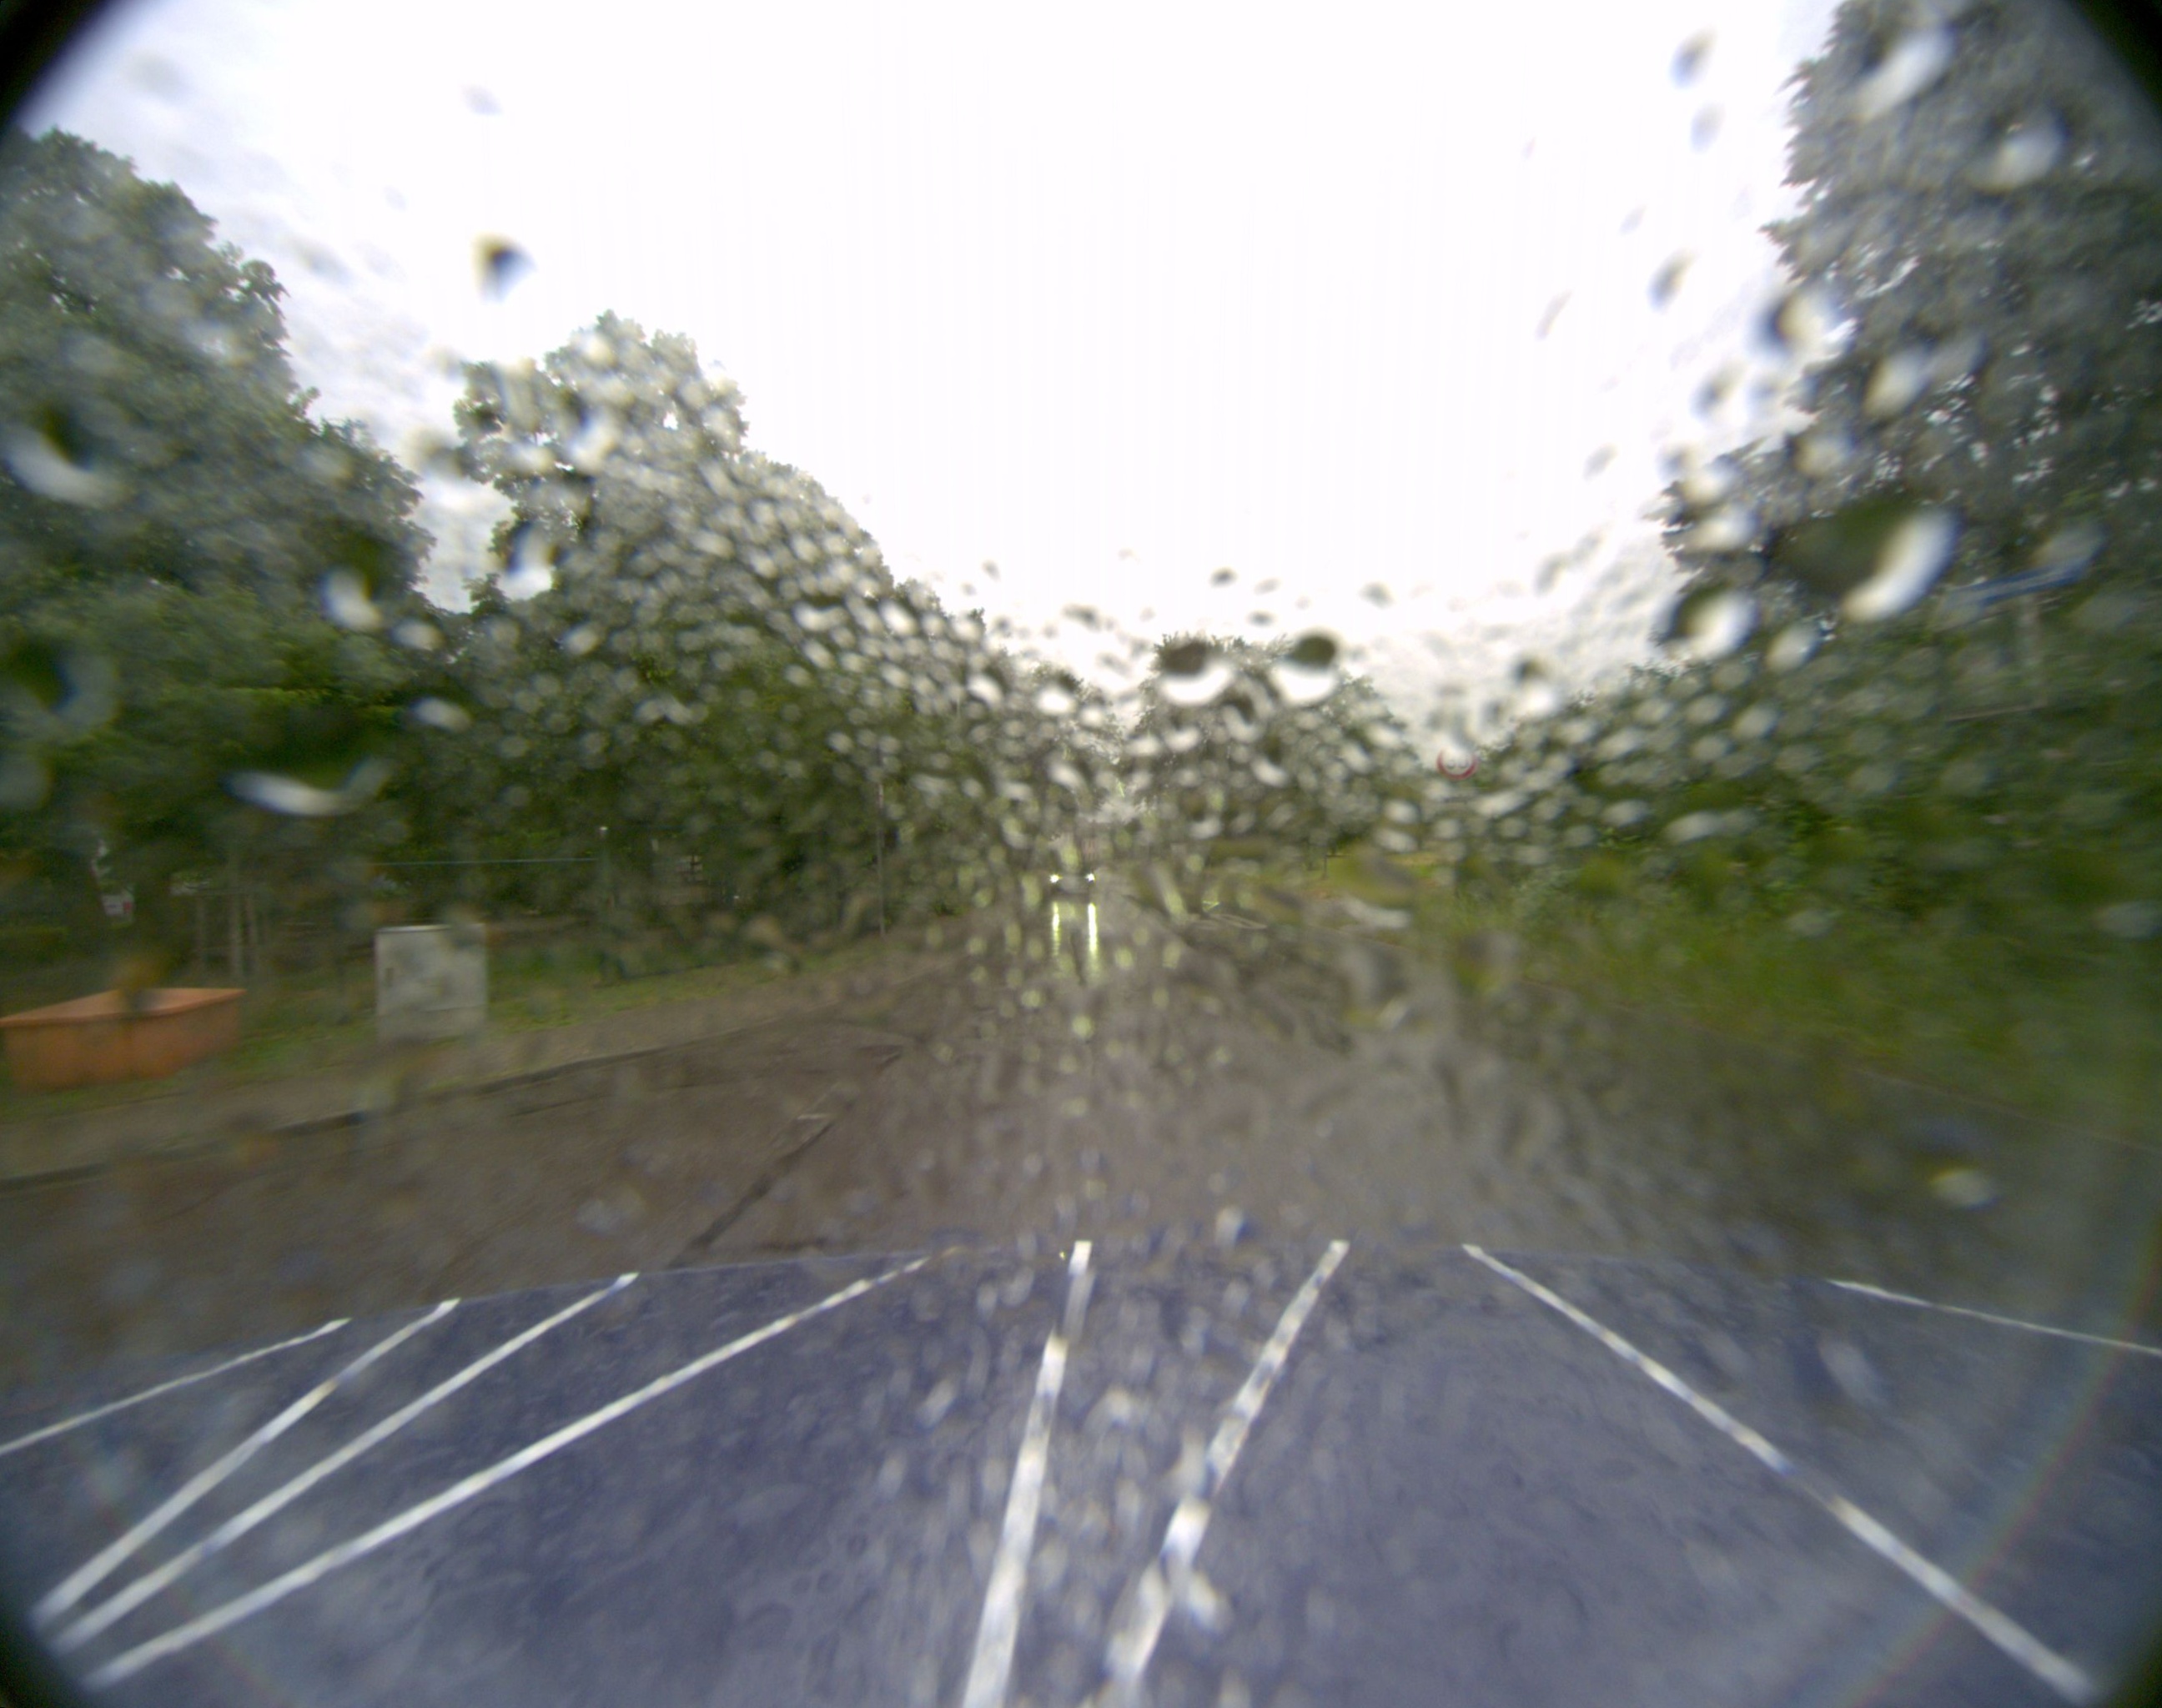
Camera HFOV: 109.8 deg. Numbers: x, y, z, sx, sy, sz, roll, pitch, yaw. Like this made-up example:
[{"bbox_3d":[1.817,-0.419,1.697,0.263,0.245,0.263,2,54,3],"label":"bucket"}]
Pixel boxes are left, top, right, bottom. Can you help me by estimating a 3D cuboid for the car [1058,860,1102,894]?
[{"bbox_3d":[-0.091,0.952,32.040,1.667,1.290,3.517,-2,0,-3],"label":"car"}]
